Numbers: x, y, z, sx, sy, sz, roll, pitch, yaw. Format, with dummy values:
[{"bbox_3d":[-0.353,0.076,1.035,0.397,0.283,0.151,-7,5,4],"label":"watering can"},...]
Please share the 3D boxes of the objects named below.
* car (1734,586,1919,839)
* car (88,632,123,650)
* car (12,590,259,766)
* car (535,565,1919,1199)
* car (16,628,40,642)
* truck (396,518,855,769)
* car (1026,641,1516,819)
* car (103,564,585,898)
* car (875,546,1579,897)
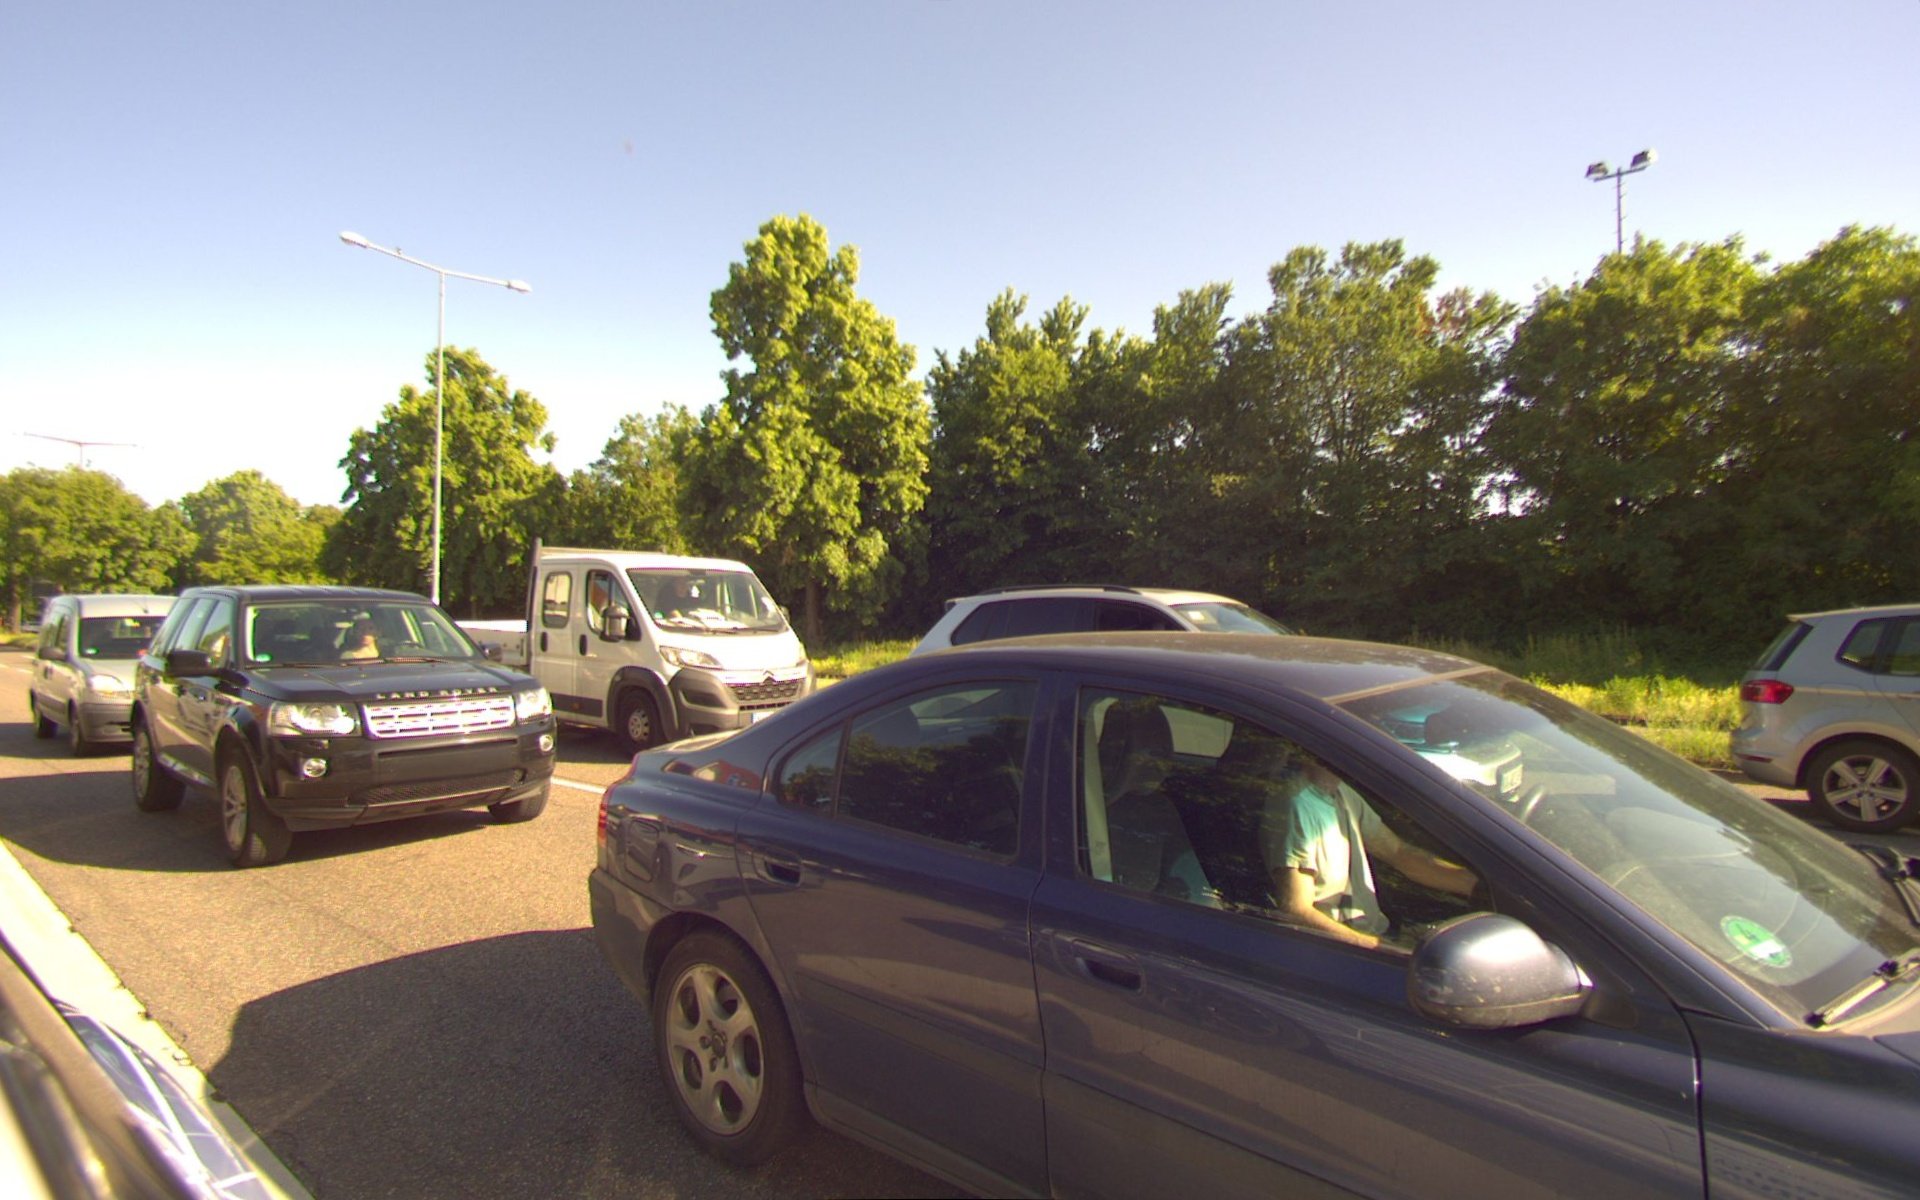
[{"bbox_3d":[7.635,0.722,6.405,4.206,1.623,1.810,-2,-3,42],"label":"car"},{"bbox_3d":[-79.491,3.792,94.138,3.998,1.697,1.854,-2,-3,41],"label":"car"},{"bbox_3d":[-10.047,0.801,12.214,4.384,1.765,1.611,-1,-1,41],"label":"car"},{"bbox_3d":[0.896,0.695,2.416,4.454,1.463,1.757,-1,0,41],"label":"car"},{"bbox_3d":[-113.624,4.245,123.374,3.998,1.697,1.769,-2,-3,41],"label":"car"},{"bbox_3d":[-4.440,0.442,12.476,6.838,2.337,2.158,-1,-1,40],"label":"truck"},{"bbox_3d":[3.036,1.157,10.534,4.550,1.440,1.811,-2,-3,41],"label":"car"},{"bbox_3d":[-4.691,0.706,7.412,4.384,1.744,1.793,-1,-1,41],"label":"car"},{"bbox_3d":[1.645,0.670,7.191,4.422,1.723,1.973,-2,-3,41],"label":"car"}]
